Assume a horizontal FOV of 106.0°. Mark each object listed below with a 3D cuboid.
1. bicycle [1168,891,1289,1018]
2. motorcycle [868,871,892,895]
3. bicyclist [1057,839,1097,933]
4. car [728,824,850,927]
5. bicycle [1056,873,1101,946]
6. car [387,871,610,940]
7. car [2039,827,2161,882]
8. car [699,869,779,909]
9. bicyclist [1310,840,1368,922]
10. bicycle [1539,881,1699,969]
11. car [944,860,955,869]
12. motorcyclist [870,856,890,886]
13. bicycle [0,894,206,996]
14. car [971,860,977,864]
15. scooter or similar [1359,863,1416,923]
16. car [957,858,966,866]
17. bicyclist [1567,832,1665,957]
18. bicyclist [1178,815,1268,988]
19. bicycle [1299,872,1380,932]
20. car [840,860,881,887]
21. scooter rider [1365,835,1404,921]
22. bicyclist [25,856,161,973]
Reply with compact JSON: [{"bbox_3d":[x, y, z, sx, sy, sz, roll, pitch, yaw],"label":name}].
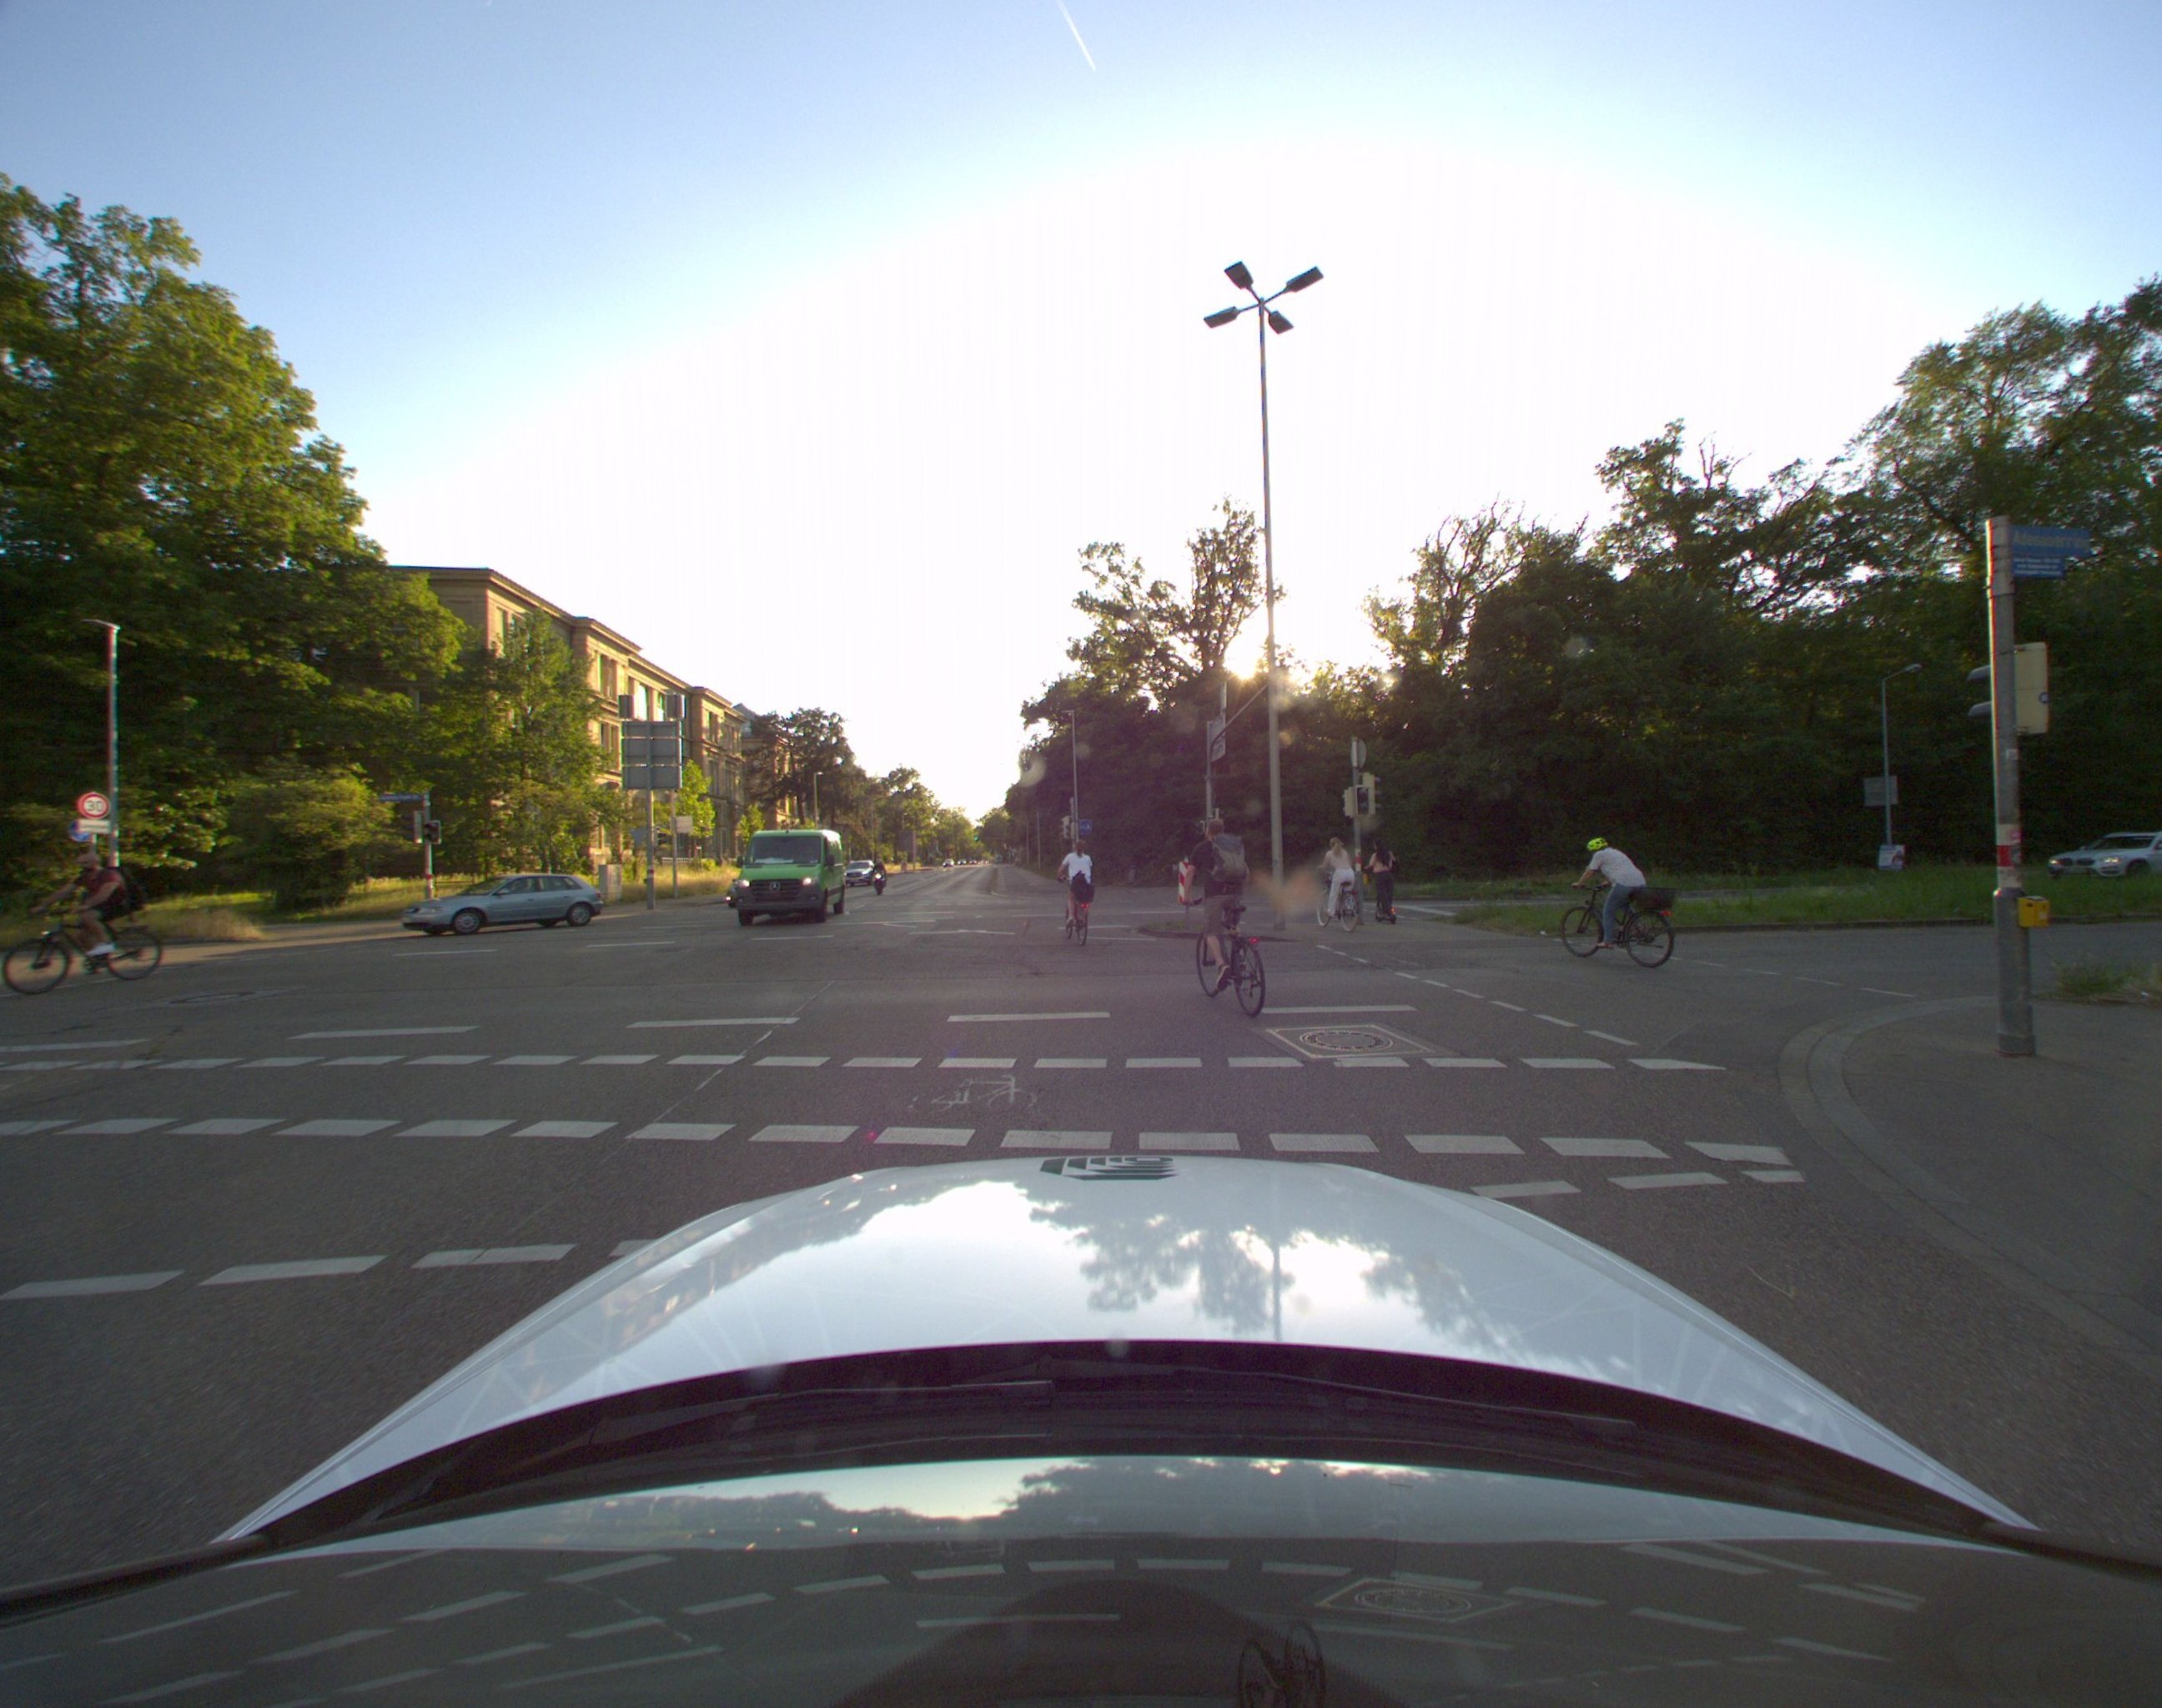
[{"bbox_3d":[1.429,0.940,8.253,0.698,1.063,1.821,0,-1,-7],"label":"bicycle"},{"bbox_3d":[-9.146,1.300,37.100,0.753,1.001,1.875,-1,0,-5],"label":"motorcycle"},{"bbox_3d":[-0.081,0.540,14.182,0.602,1.586,0.908,-1,-1,-5],"label":"bicyclist"},{"bbox_3d":[-7.450,0.511,21.409,2.039,2.278,5.919,-1,0,-11],"label":"car"},{"bbox_3d":[-0.072,0.920,14.207,0.612,1.138,1.881,0,0,-5],"label":"bicycle"},{"bbox_3d":[-14.299,1.188,20.259,1.713,1.409,4.165,-2,0,29],"label":"car"},{"bbox_3d":[33.573,0.019,25.727,4.615,1.614,1.825,-1,-3,-3],"label":"car"},{"bbox_3d":[-12.991,1.301,31.131,1.762,1.328,3.636,-1,0,-5],"label":"car"},{"bbox_3d":[4.902,0.502,15.513,0.758,1.518,0.855,-1,0,-5],"label":"bicyclist"},{"bbox_3d":[7.061,0.887,10.805,0.565,1.014,1.791,-1,0,-18],"label":"bicycle"},{"bbox_3d":[-23.914,1.861,148.058,1.770,1.474,3.764,-1,0,-9],"label":"car"},{"bbox_3d":[-9.158,0.765,37.058,0.748,1.358,0.702,-2,-1,-6],"label":"motorcyclist"},{"bbox_3d":[-13.512,1.190,11.216,0.685,1.123,2.165,-1,1,-5],"label":"bicycle"},{"bbox_3d":[-32.840,2.429,249.710,1.992,1.266,3.989,-1,0,-8],"label":"car"},{"bbox_3d":[6.354,0.793,16.948,0.561,1.189,1.420,-1,-1,-4],"label":"scooter or similar"},{"bbox_3d":[-28.253,1.861,192.266,1.993,1.640,3.988,-1,0,-9],"label":"car"},{"bbox_3d":[7.060,0.518,10.782,0.555,1.569,0.893,-1,-1,-18],"label":"bicyclist"},{"bbox_3d":[1.421,0.460,8.271,0.698,1.667,0.796,0,-1,-7],"label":"bicyclist"},{"bbox_3d":[4.901,0.883,15.607,0.769,1.007,2.012,-1,0,-5],"label":"bicycle"},{"bbox_3d":[-14.373,1.223,53.237,1.762,1.635,4.505,-1,0,-5],"label":"car"},{"bbox_3d":[6.346,0.491,17.031,0.564,1.767,0.504,-1,-1,-5],"label":"scooter rider"},{"bbox_3d":[-13.517,0.796,11.176,0.682,1.512,0.954,-1,-1,-6],"label":"bicyclist"}]
